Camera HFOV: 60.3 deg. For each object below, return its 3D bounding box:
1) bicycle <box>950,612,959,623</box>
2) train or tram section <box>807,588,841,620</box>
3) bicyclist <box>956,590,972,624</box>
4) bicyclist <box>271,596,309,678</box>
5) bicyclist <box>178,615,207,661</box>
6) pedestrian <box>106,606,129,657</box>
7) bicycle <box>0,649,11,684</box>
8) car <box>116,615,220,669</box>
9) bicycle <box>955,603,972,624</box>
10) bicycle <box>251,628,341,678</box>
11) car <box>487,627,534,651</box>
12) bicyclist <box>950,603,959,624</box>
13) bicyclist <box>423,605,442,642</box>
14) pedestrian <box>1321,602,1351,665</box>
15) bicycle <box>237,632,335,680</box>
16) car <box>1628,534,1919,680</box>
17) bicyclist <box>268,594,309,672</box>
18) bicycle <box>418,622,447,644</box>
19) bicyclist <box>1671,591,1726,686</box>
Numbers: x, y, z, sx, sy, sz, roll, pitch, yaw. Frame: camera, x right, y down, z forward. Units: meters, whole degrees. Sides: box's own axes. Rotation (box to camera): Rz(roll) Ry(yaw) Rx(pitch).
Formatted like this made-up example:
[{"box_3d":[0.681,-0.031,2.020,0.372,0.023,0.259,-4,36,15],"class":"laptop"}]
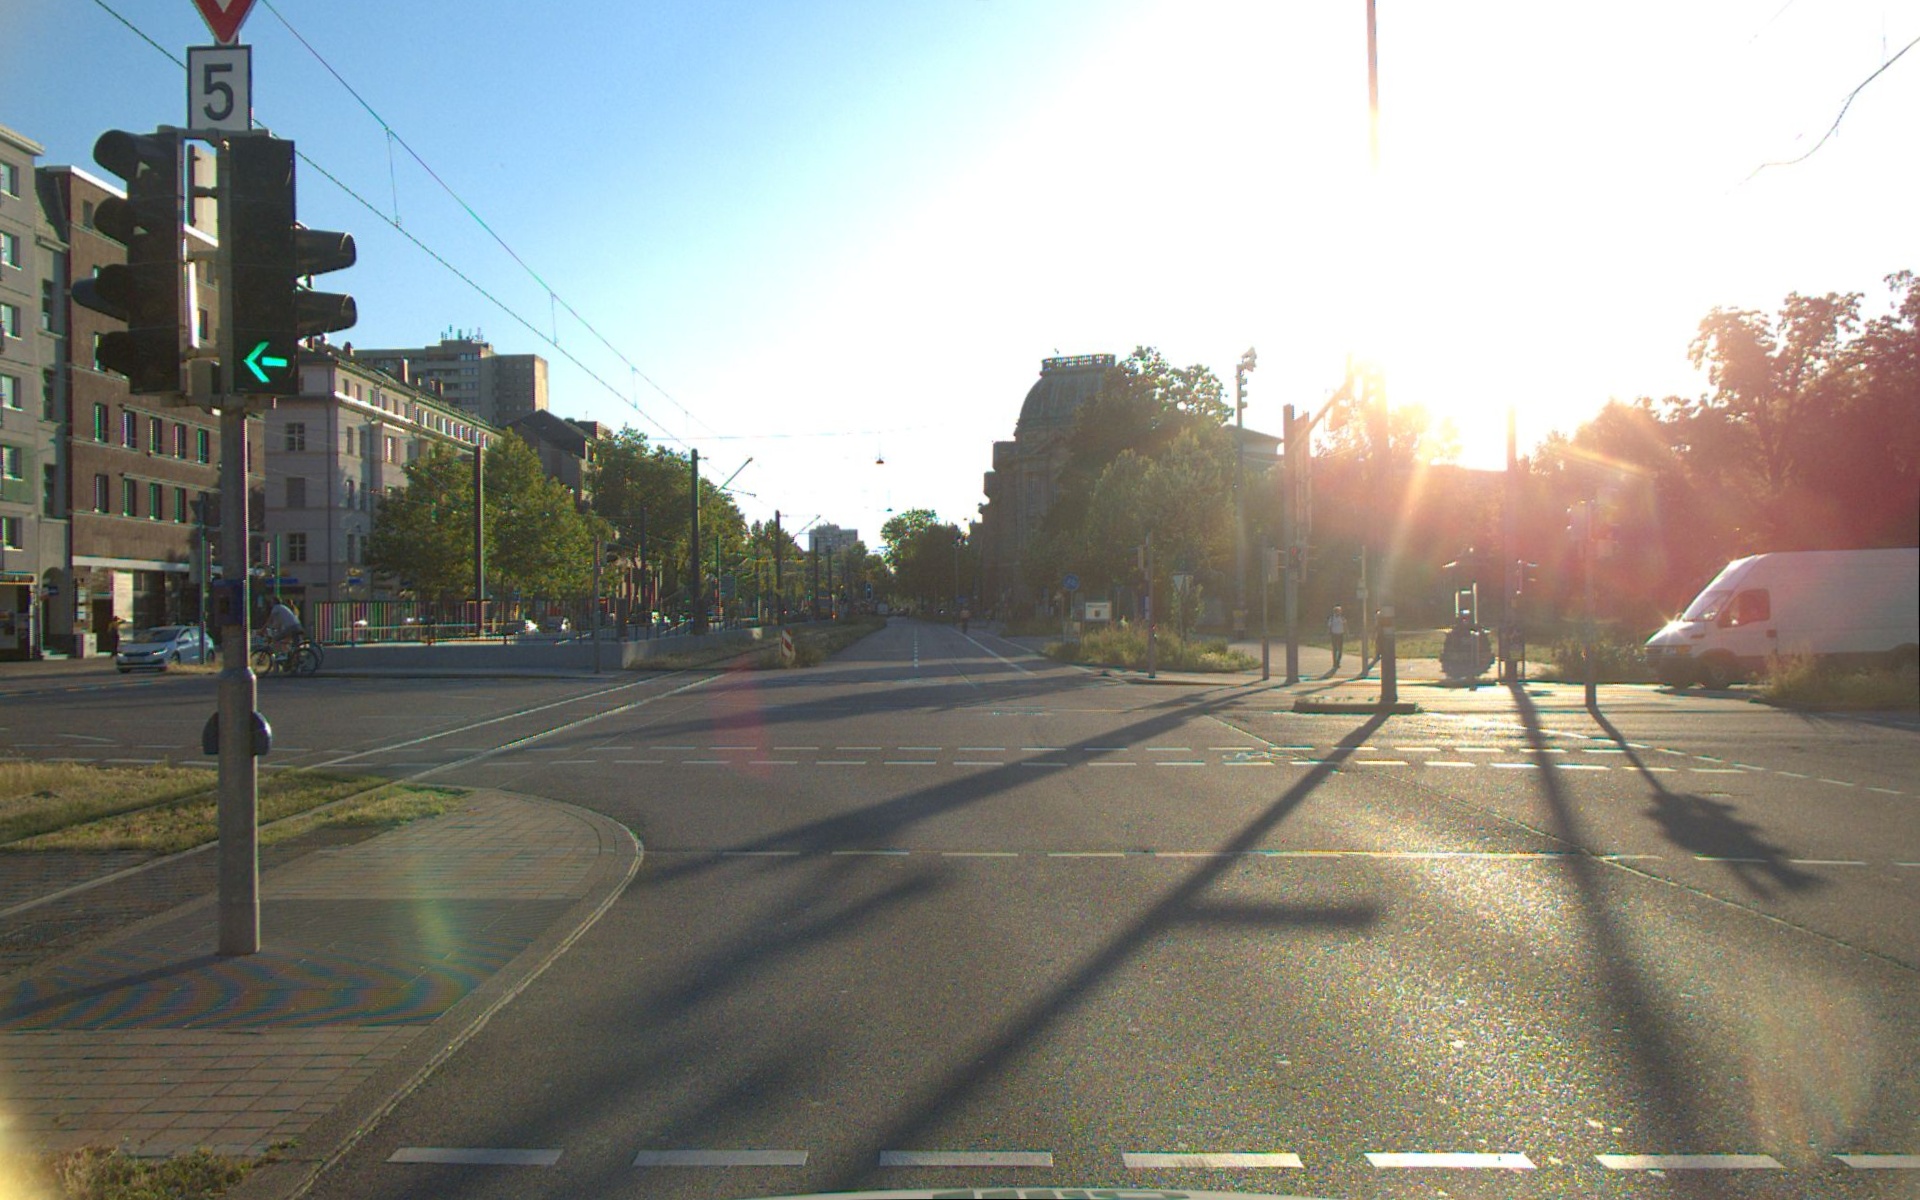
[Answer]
[{"box_3d":[-0.537,1.750,165.671,0.905,1.131,2.332,-1,-1,-1],"class":"bicycle"},{"box_3d":[-17.714,0.542,215.102,4.301,3.917,11.398,-1,0,-5],"class":"train or tram section"},{"box_3d":[0.253,0.490,113.401,1.060,2.316,0.986,0,-1,-1],"class":"bicyclist"},{"box_3d":[-15.400,0.842,38.017,0.781,1.850,0.642,-1,-1,-21],"class":"bicyclist"},{"box_3d":[-29.968,1.463,64.561,0.686,1.773,0.792,-1,-1,10],"class":"bicyclist"},{"box_3d":[-36.833,1.356,72.334,0.589,2.216,0.792,-1,-1,-1],"class":"pedestrian"},{"box_3d":[-32.969,2.247,55.662,1.655,1.191,0.748,-1,-1,1],"class":"bicycle"},{"box_3d":[-26.120,1.354,54.668,1.655,1.646,3.998,-2,0,-3],"class":"car"},{"box_3d":[0.249,0.919,113.397,1.075,1.423,2.831,-1,-1,-1],"class":"bicycle"},{"box_3d":[-15.263,1.218,38.064,1.872,1.094,0.629,-1,-1,-20],"class":"bicycle"},{"box_3d":[-28.787,2.491,106.028,1.781,1.445,4.001,-1,0,3],"class":"car"},{"box_3d":[-0.526,1.324,165.652,0.907,2.049,0.850,-1,-1,-1],"class":"bicyclist"},{"box_3d":[-30.181,1.344,94.655,0.780,2.049,0.923,-1,-1,1],"class":"bicyclist"},{"box_3d":[11.073,0.971,48.710,0.815,1.835,0.811,-1,-1,14],"class":"pedestrian"},{"box_3d":[-16.223,1.338,39.850,2.130,1.102,0.536,0,-1,-18],"class":"bicycle"},{"box_3d":[17.774,0.137,34.427,6.866,2.877,2.093,-1,-1,1],"class":"car"},{"box_3d":[-16.185,0.783,39.875,0.862,1.850,0.535,-1,-1,-18],"class":"bicyclist"},{"box_3d":[-30.147,1.890,94.560,0.796,1.222,2.413,-1,0,1],"class":"bicycle"},{"box_3d":[16.247,0.846,36.380,0.880,2.049,0.722,-1,-1,4],"class":"bicyclist"}]
